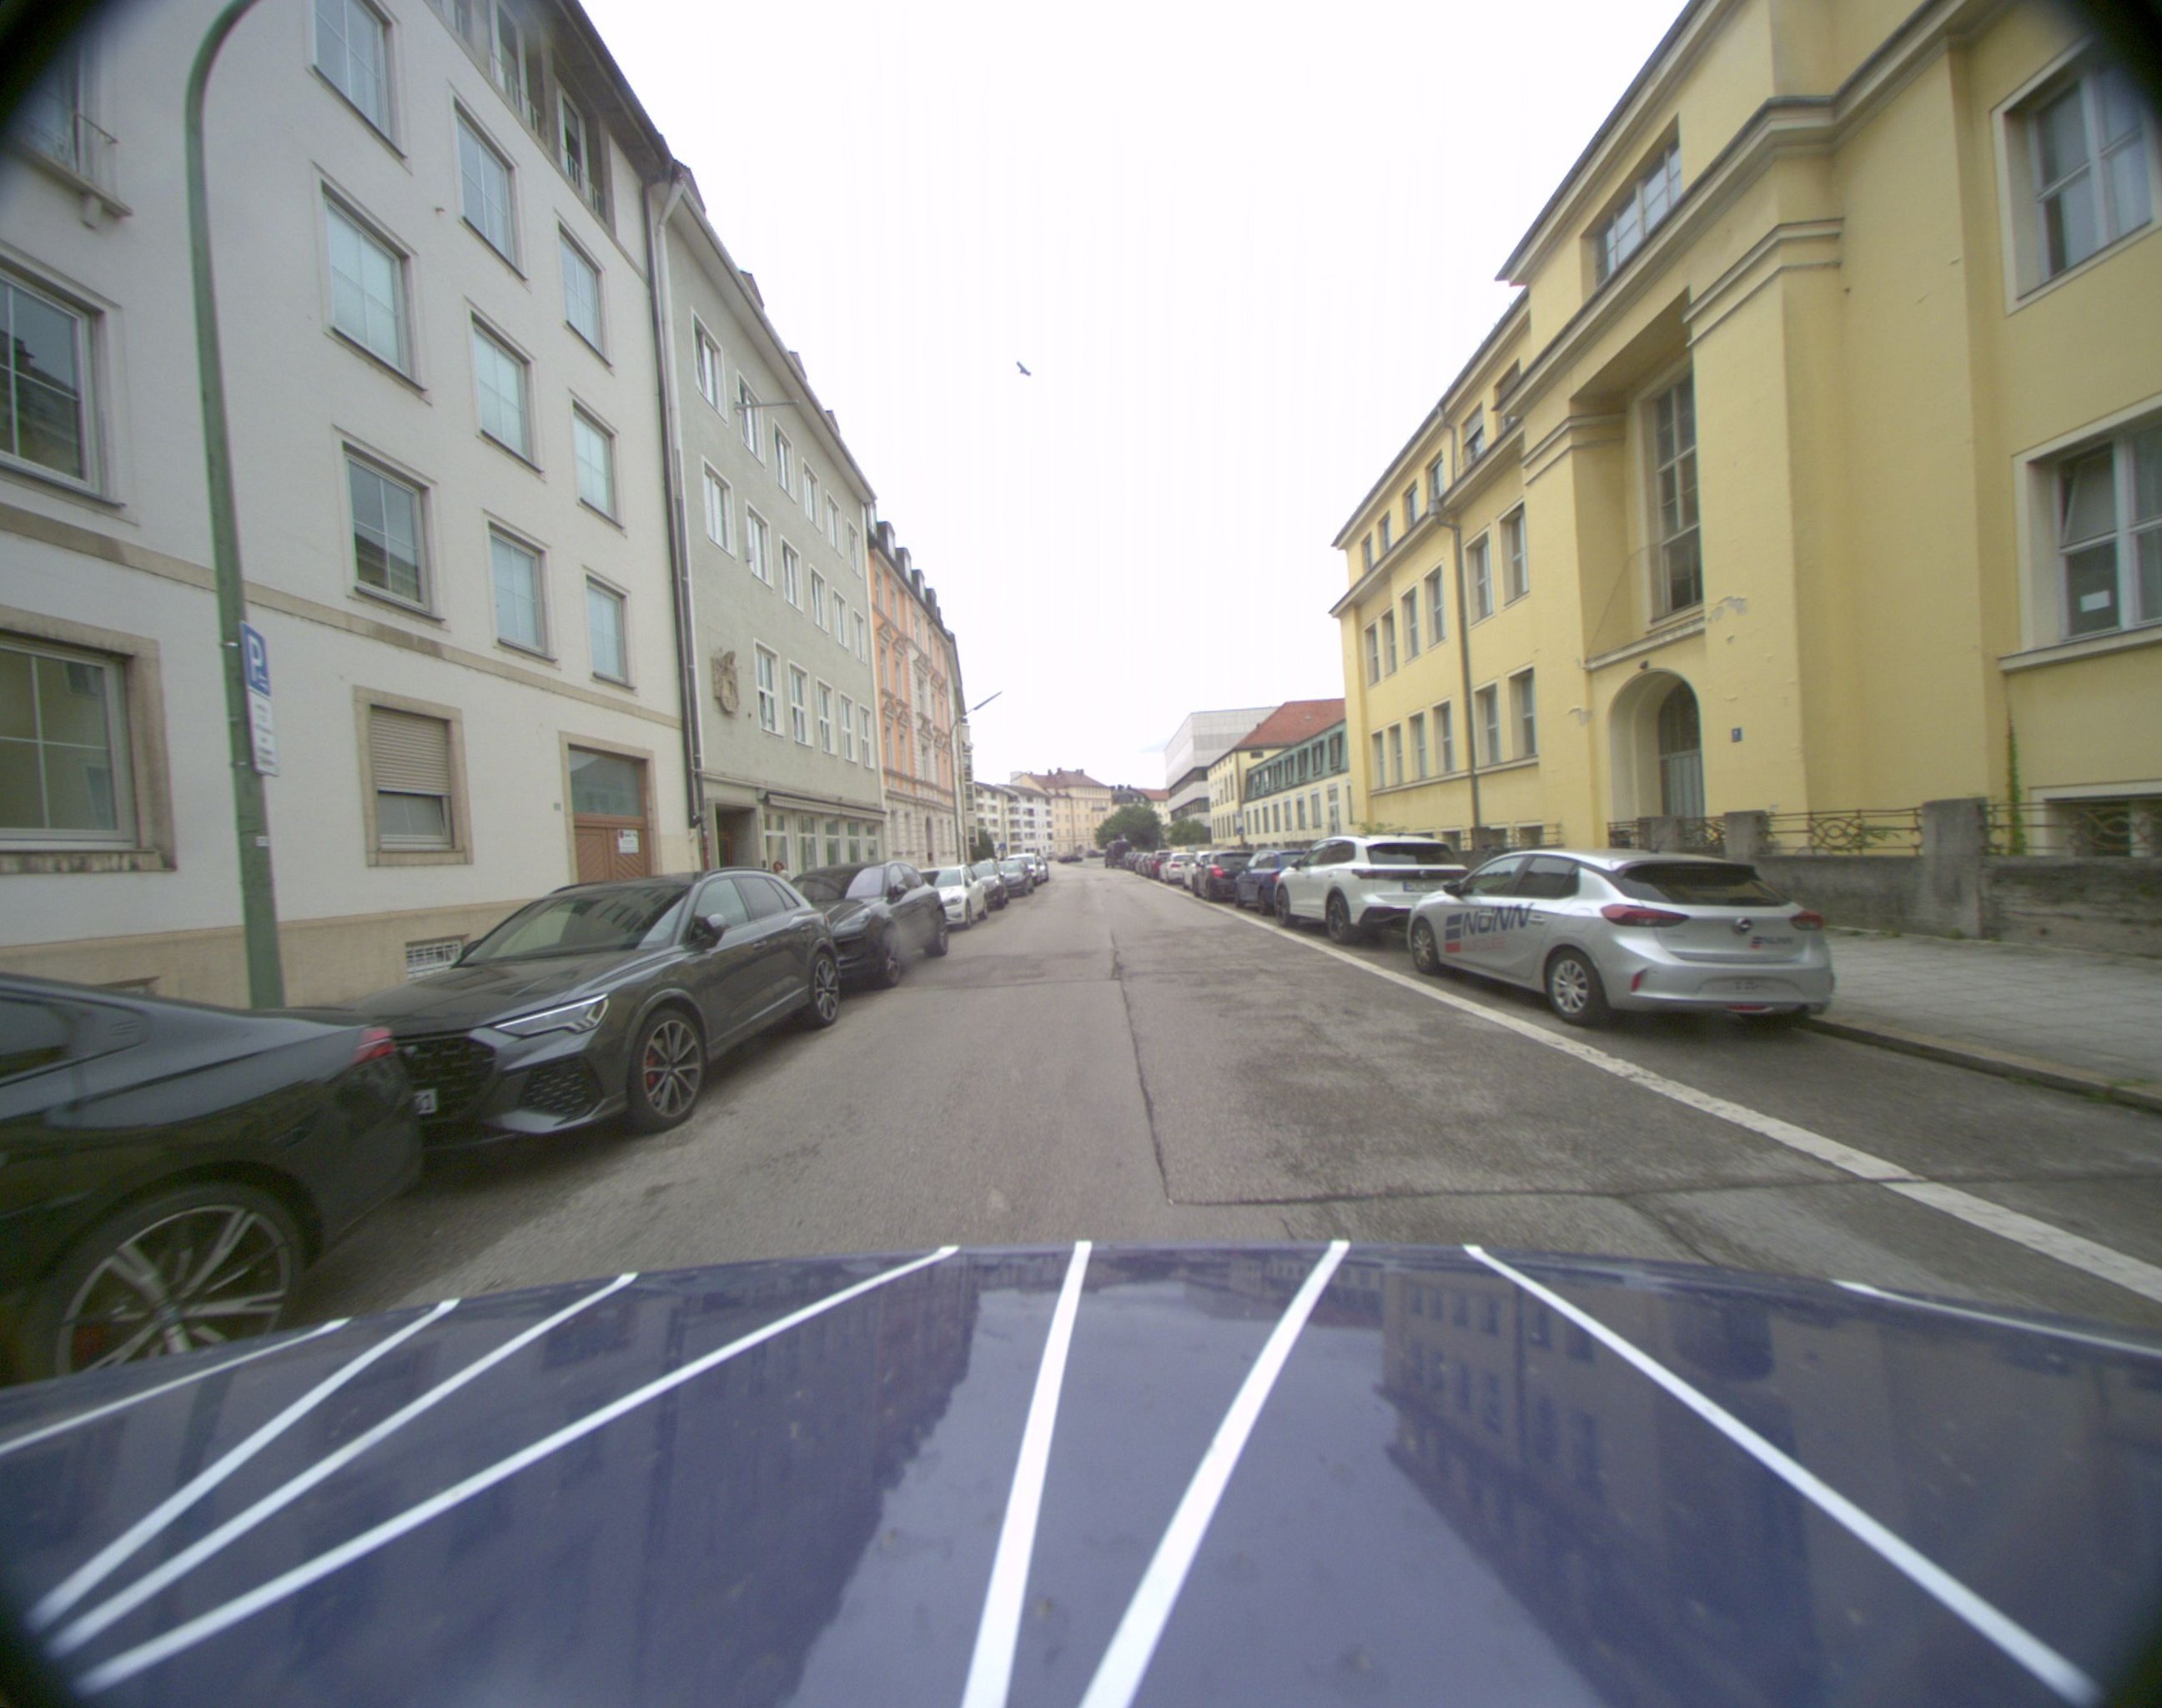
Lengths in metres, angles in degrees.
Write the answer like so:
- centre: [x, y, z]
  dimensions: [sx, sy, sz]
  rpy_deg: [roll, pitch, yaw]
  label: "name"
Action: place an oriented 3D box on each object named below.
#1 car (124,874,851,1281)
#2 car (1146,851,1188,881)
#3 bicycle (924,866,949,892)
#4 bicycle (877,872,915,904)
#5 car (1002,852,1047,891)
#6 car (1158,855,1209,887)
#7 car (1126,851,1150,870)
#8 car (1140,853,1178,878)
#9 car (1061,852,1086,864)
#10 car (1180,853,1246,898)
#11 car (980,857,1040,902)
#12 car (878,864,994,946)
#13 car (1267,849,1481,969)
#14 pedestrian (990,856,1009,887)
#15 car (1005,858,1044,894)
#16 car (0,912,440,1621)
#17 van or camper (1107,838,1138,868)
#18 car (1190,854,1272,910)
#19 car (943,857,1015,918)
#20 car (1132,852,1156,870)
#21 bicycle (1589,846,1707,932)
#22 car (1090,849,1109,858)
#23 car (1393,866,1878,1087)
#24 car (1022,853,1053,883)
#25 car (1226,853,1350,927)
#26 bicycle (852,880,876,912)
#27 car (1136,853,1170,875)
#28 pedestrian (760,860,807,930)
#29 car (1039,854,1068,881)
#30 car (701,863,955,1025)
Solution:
- centre: [-3.358, 1.086, 5.602]
  dimensions: [1.783, 1.575, 4.271]
  rpy_deg: [-5, 0, 2]
  label: "car"
- centre: [4.568, 0.617, 40.943]
  dimensions: [1.679, 1.557, 3.996]
  rpy_deg: [-1, 0, -2]
  label: "car"
- centre: [-6.904, 1.191, 36.357]
  dimensions: [0.652, 1.176, 2.096]
  rpy_deg: [-2, -1, 3]
  label: "bicycle"
- centre: [-7.064, 1.293, 29.187]
  dimensions: [0.771, 1.068, 2.458]
  rpy_deg: [-3, 0, 1]
  label: "bicycle"
- centre: [-3.011, 0.899, 41.497]
  dimensions: [1.845, 1.775, 4.895]
  rpy_deg: [-6, 0, 1]
  label: "car"
- centre: [4.713, 0.734, 35.414]
  dimensions: [1.679, 1.390, 3.996]
  rpy_deg: [-1, 0, -2]
  label: "car"
- centre: [4.921, 0.567, 66.201]
  dimensions: [1.700, 1.553, 3.867]
  rpy_deg: [-1, 0, -1]
  label: "car"
- centre: [4.649, 0.655, 45.811]
  dimensions: [1.679, 1.397, 3.989]
  rpy_deg: [-1, 0, -4]
  label: "car"
- centre: [-1.296, 0.676, 132.570]
  dimensions: [4.248, 1.849, 1.999]
  rpy_deg: [-3, 0, -5]
  label: "car"
- centre: [4.790, 0.736, 28.096]
  dimensions: [1.727, 1.518, 4.087]
  rpy_deg: [0, 0, 0]
  label: "car"
- centre: [-2.779, 0.966, 30.603]
  dimensions: [1.696, 1.443, 4.083]
  rpy_deg: [-6, 0, 3]
  label: "car"
- centre: [-3.255, 1.088, 17.822]
  dimensions: [1.696, 1.455, 4.083]
  rpy_deg: [-6, 0, 2]
  label: "car"
- centre: [4.516, 0.739, 12.509]
  dimensions: [1.684, 1.624, 4.356]
  rpy_deg: [1, 0, -2]
  label: "car"
- centre: [-4.488, 0.967, 41.654]
  dimensions: [0.863, 1.652, 0.647]
  rpy_deg: [-4, 1, 0]
  label: "pedestrian"
- centre: [-2.624, 0.981, 36.224]
  dimensions: [1.603, 1.443, 4.300]
  rpy_deg: [-6, 0, -2]
  label: "car"
- centre: [-3.474, 1.109, 0.516]
  dimensions: [1.860, 1.535, 4.815]
  rpy_deg: [-7, 1, -1]
  label: "car"
- centre: [4.127, -0.081, 77.109]
  dimensions: [2.142, 2.791, 5.569]
  rpy_deg: [-2, 0, -7]
  label: "van or camper"
- centre: [4.355, 0.767, 22.652]
  dimensions: [1.684, 1.487, 3.985]
  rpy_deg: [0, 1, 0]
  label: "car"
- centre: [-3.150, 0.984, 24.200]
  dimensions: [1.696, 1.574, 4.082]
  rpy_deg: [-6, 0, -1]
  label: "car"
- centre: [5.065, 0.547, 61.465]
  dimensions: [1.699, 1.397, 4.000]
  rpy_deg: [-1, 0, 2]
  label: "car"
- centre: [8.716, 0.502, 11.763]
  dimensions: [0.578, 1.182, 1.562]
  rpy_deg: [-6, 1, 1]
  label: "bicycle"
- centre: [4.103, -0.101, 168.705]
  dimensions: [3.997, 1.849, 2.000]
  rpy_deg: [-2, 1, 1]
  label: "car"
- centre: [4.586, 0.871, 7.140]
  dimensions: [1.684, 1.417, 3.894]
  rpy_deg: [1, 0, 0]
  label: "car"
- centre: [-2.616, 0.837, 46.693]
  dimensions: [1.608, 1.633, 3.630]
  rpy_deg: [-5, 1, -1]
  label: "car"
- centre: [4.653, 0.742, 17.645]
  dimensions: [1.684, 1.496, 3.972]
  rpy_deg: [-1, 0, -2]
  label: "car"
- centre: [-7.466, 1.419, 26.163]
  dimensions: [0.331, 0.998, 1.521]
  rpy_deg: [-3, 0, 1]
  label: "bicycle"
- centre: [4.775, 0.669, 51.030]
  dimensions: [1.798, 1.397, 4.127]
  rpy_deg: [-1, 0, -1]
  label: "car"
- centre: [-7.195, 0.975, 18.402]
  dimensions: [0.736, 1.616, 0.828]
  rpy_deg: [-2, 1, 1]
  label: "pedestrian"
- centre: [-1.846, 0.894, 52.428]
  dimensions: [1.745, 1.578, 4.200]
  rpy_deg: [-6, 0, 0]
  label: "car"
- centre: [-3.172, 1.027, 10.601]
  dimensions: [1.783, 1.575, 4.330]
  rpy_deg: [-5, 0, 3]
  label: "car"
